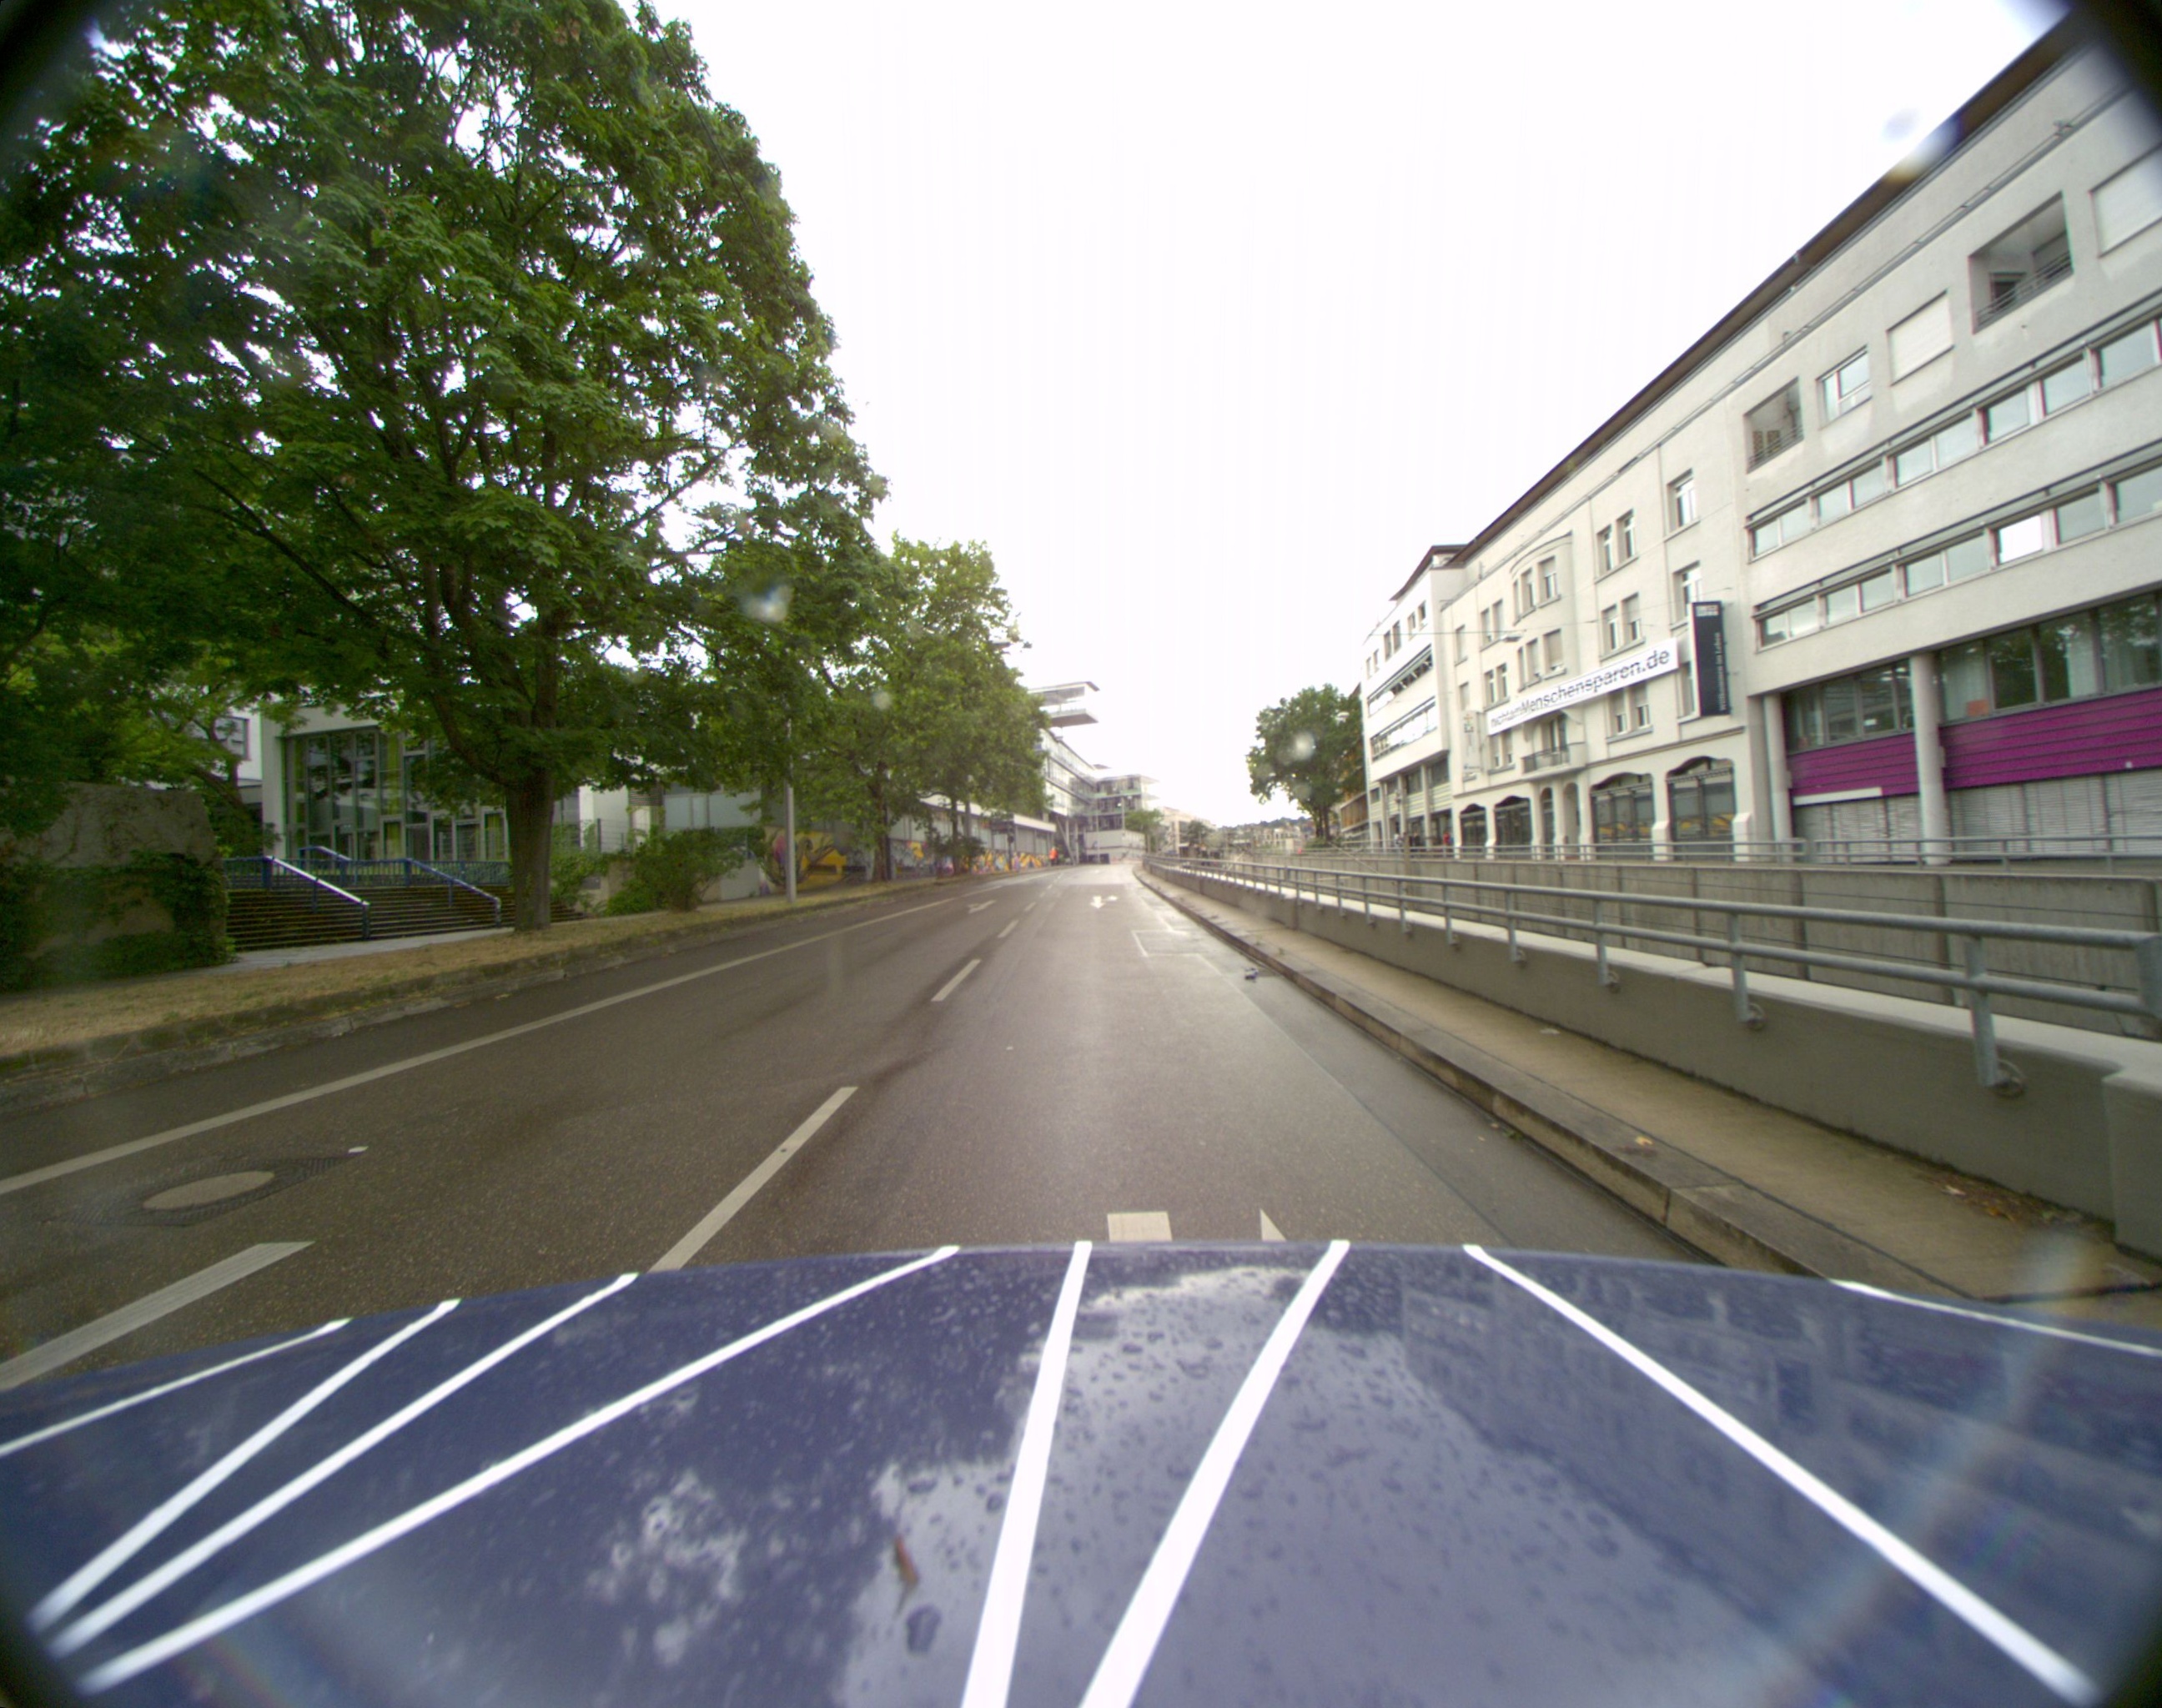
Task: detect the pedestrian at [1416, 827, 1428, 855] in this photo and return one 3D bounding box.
[{"bbox_3d":[22.570,-0.861,50.314,0.470,1.792,0.547,-4,1,3],"label":"pedestrian"}]

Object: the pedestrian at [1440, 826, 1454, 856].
[{"bbox_3d":[22.823,-0.804,47.374,0.470,1.792,0.547,-4,1,0],"label":"pedestrian"}]

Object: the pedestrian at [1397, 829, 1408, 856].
[{"bbox_3d":[21.707,-0.756,51.317,0.469,1.792,0.548,-4,1,8],"label":"pedestrian"}]

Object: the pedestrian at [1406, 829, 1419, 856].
[{"bbox_3d":[22.479,-0.786,51.575,0.547,1.792,0.470,-4,1,-7],"label":"pedestrian"}]

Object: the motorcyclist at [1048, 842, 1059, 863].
[{"bbox_3d":[-2.613,-0.131,73.063,0.754,2.002,1.002,-4,1,9],"label":"motorcyclist"}]
